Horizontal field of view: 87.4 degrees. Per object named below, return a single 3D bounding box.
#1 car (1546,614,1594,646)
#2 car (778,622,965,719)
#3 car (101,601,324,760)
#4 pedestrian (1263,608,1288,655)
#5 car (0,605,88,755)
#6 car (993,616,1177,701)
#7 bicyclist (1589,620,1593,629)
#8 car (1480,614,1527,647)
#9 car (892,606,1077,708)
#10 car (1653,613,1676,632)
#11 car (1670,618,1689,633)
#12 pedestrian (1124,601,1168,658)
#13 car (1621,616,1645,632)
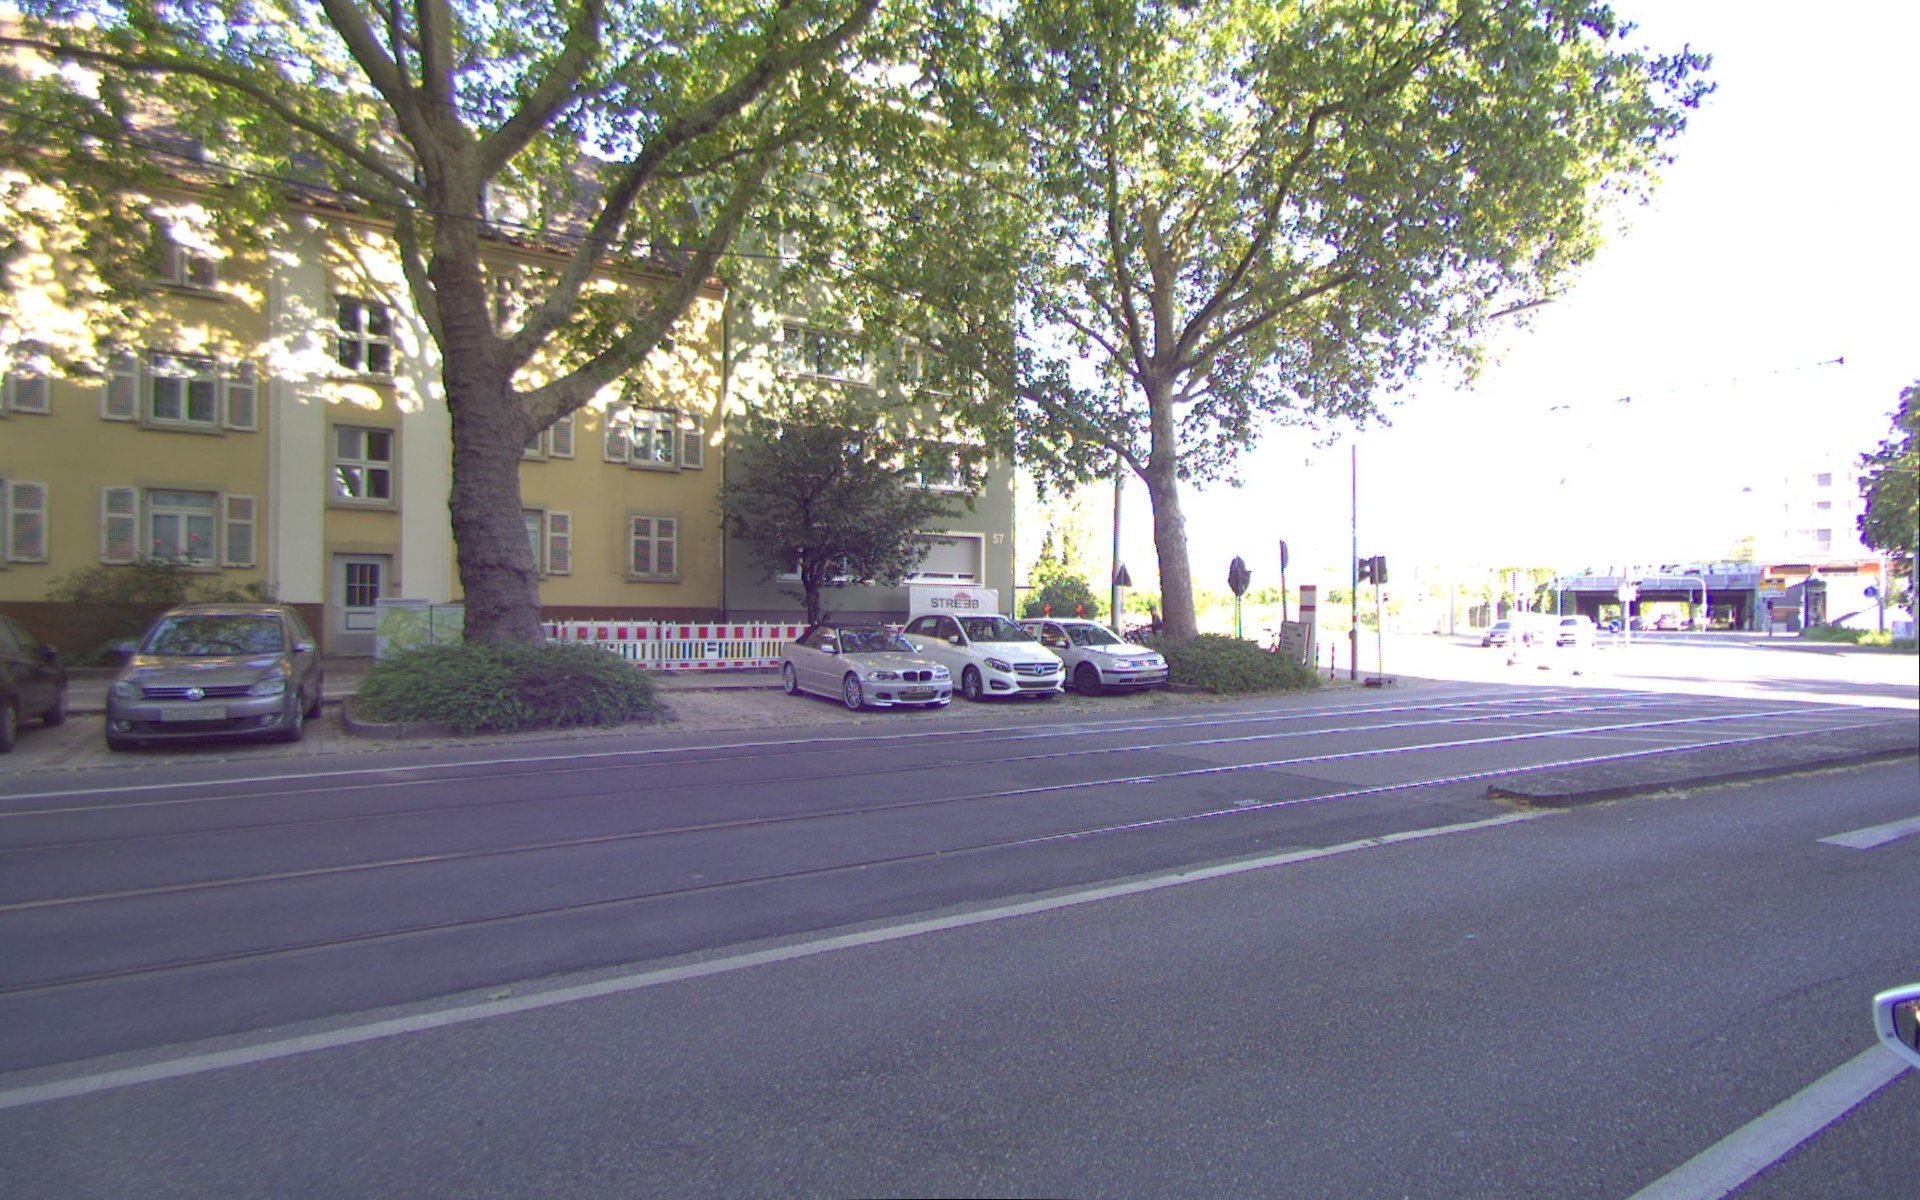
[{"bbox_3d":[33.576,1.635,55.241,1.860,1.606,3.823,2,0,37],"label":"car"},{"bbox_3d":[-1.649,1.112,17.307,1.651,1.370,3.949,1,0,-31],"label":"car"},{"bbox_3d":[-8.998,0.835,12.413,1.652,1.602,3.953,1,0,-29],"label":"car"},{"bbox_3d":[11.782,1.168,37.495,0.759,1.683,0.955,2,0,23],"label":"pedestrian"},{"bbox_3d":[-11.464,0.836,11.382,1.652,1.518,3.778,1,0,-29],"label":"car"},{"bbox_3d":[2.442,1.113,20.526,1.651,1.473,3.949,1,0,-31],"label":"car"},{"bbox_3d":[87.697,3.340,139.616,0.519,1.239,0.528,0,0,34],"label":"bicyclist"},{"bbox_3d":[29.371,1.612,54.194,1.774,1.684,4.342,0,-1,35],"label":"car"},{"bbox_3d":[0.351,0.986,19.152,1.651,1.669,3.949,1,0,-31],"label":"car"},{"bbox_3d":[71.340,2.271,101.659,1.883,1.906,4.830,0,-1,35],"label":"car"},{"bbox_3d":[83.512,2.986,116.668,1.731,1.706,3.729,2,0,36],"label":"car"},{"bbox_3d":[5.563,0.881,30.027,0.919,1.669,0.841,2,0,-30],"label":"pedestrian"},{"bbox_3d":[69.081,2.479,103.050,1.860,1.606,3.823,2,0,37],"label":"car"}]
